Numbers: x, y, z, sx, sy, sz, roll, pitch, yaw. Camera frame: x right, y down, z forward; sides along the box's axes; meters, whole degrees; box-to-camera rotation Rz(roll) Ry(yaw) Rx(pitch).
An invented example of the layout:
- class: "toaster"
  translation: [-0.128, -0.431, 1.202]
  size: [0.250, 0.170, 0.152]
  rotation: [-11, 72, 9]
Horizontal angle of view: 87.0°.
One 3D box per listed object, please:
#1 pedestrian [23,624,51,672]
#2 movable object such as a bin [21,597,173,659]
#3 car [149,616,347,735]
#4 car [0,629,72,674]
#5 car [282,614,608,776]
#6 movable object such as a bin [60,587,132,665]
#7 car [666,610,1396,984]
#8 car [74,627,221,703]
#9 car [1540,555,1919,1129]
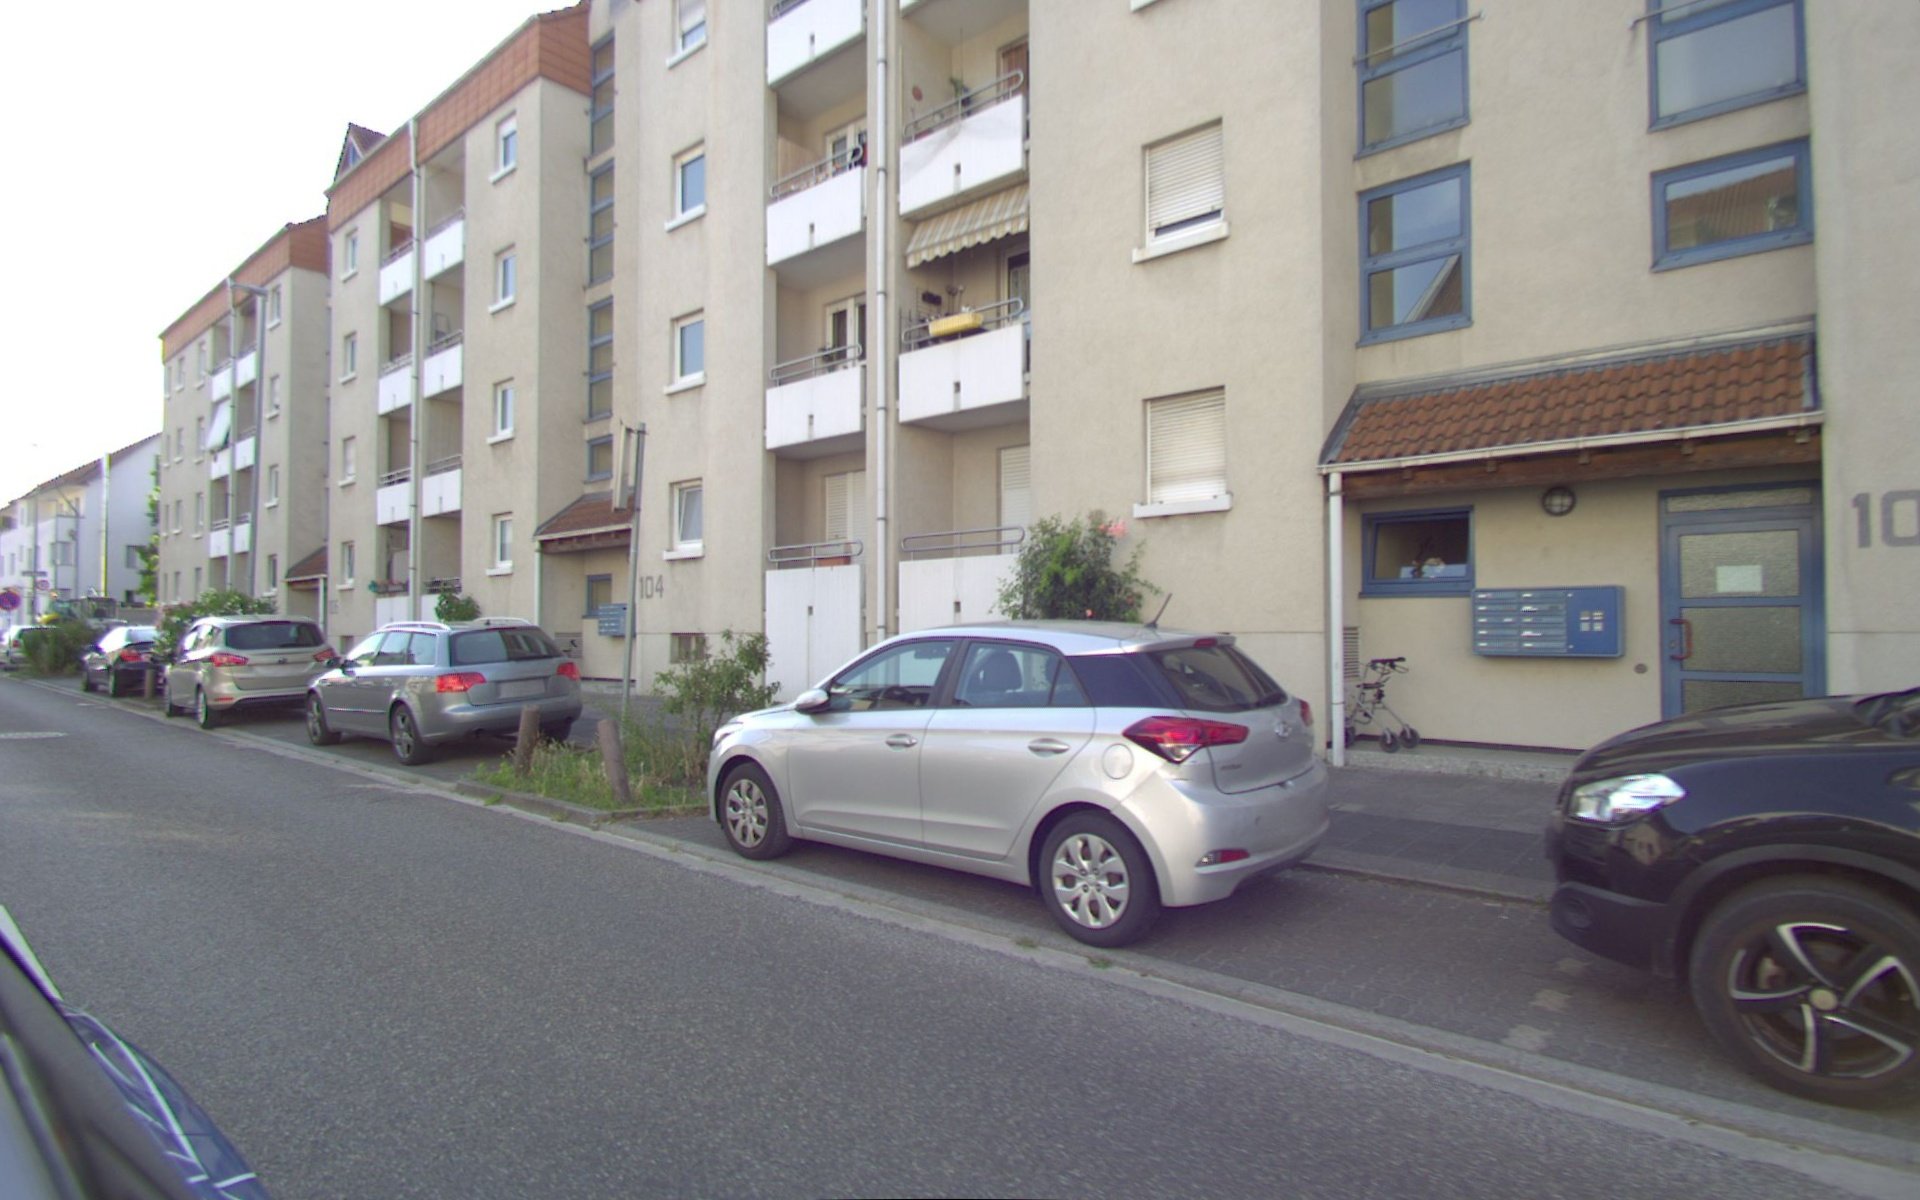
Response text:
- class: "pedestrian"
  translation: [-35.948, 1.868, 39.425]
  size: [0.745, 1.832, 0.711]
  rotation: [-2, -2, 41]
- class: "movable object such as a bin"
  translation: [-43.384, 1.405, 51.043]
  size: [2.102, 2.923, 5.461]
  rotation: [-2, -2, 29]
- class: "car"
  translation: [-11.033, 1.063, 15.580]
  size: [3.965, 1.567, 1.708]
  rotation: [-2, -1, 43]
- class: "car"
  translation: [-30.815, 1.660, 33.441]
  size: [3.668, 1.406, 1.624]
  rotation: [-2, -2, 39]
- class: "car"
  translation: [-6.079, 0.960, 11.720]
  size: [4.366, 1.532, 1.789]
  rotation: [-2, -2, 40]
- class: "movable object such as a bin"
  translation: [-36.644, 1.119, 42.901]
  size: [3.896, 3.162, 1.631]
  rotation: [-2, -3, 40]
- class: "car"
  translation: [0.151, 0.824, 5.978]
  size: [4.138, 1.465, 1.668]
  rotation: [-2, -2, 41]
- class: "car"
  translation: [-17.161, 1.304, 21.314]
  size: [4.081, 1.416, 1.669]
  rotation: [-2, -2, 40]
- class: "car"
  translation: [4.188, 0.662, 2.673]
  size: [4.367, 1.615, 1.668]
  rotation: [-2, -2, 41]
